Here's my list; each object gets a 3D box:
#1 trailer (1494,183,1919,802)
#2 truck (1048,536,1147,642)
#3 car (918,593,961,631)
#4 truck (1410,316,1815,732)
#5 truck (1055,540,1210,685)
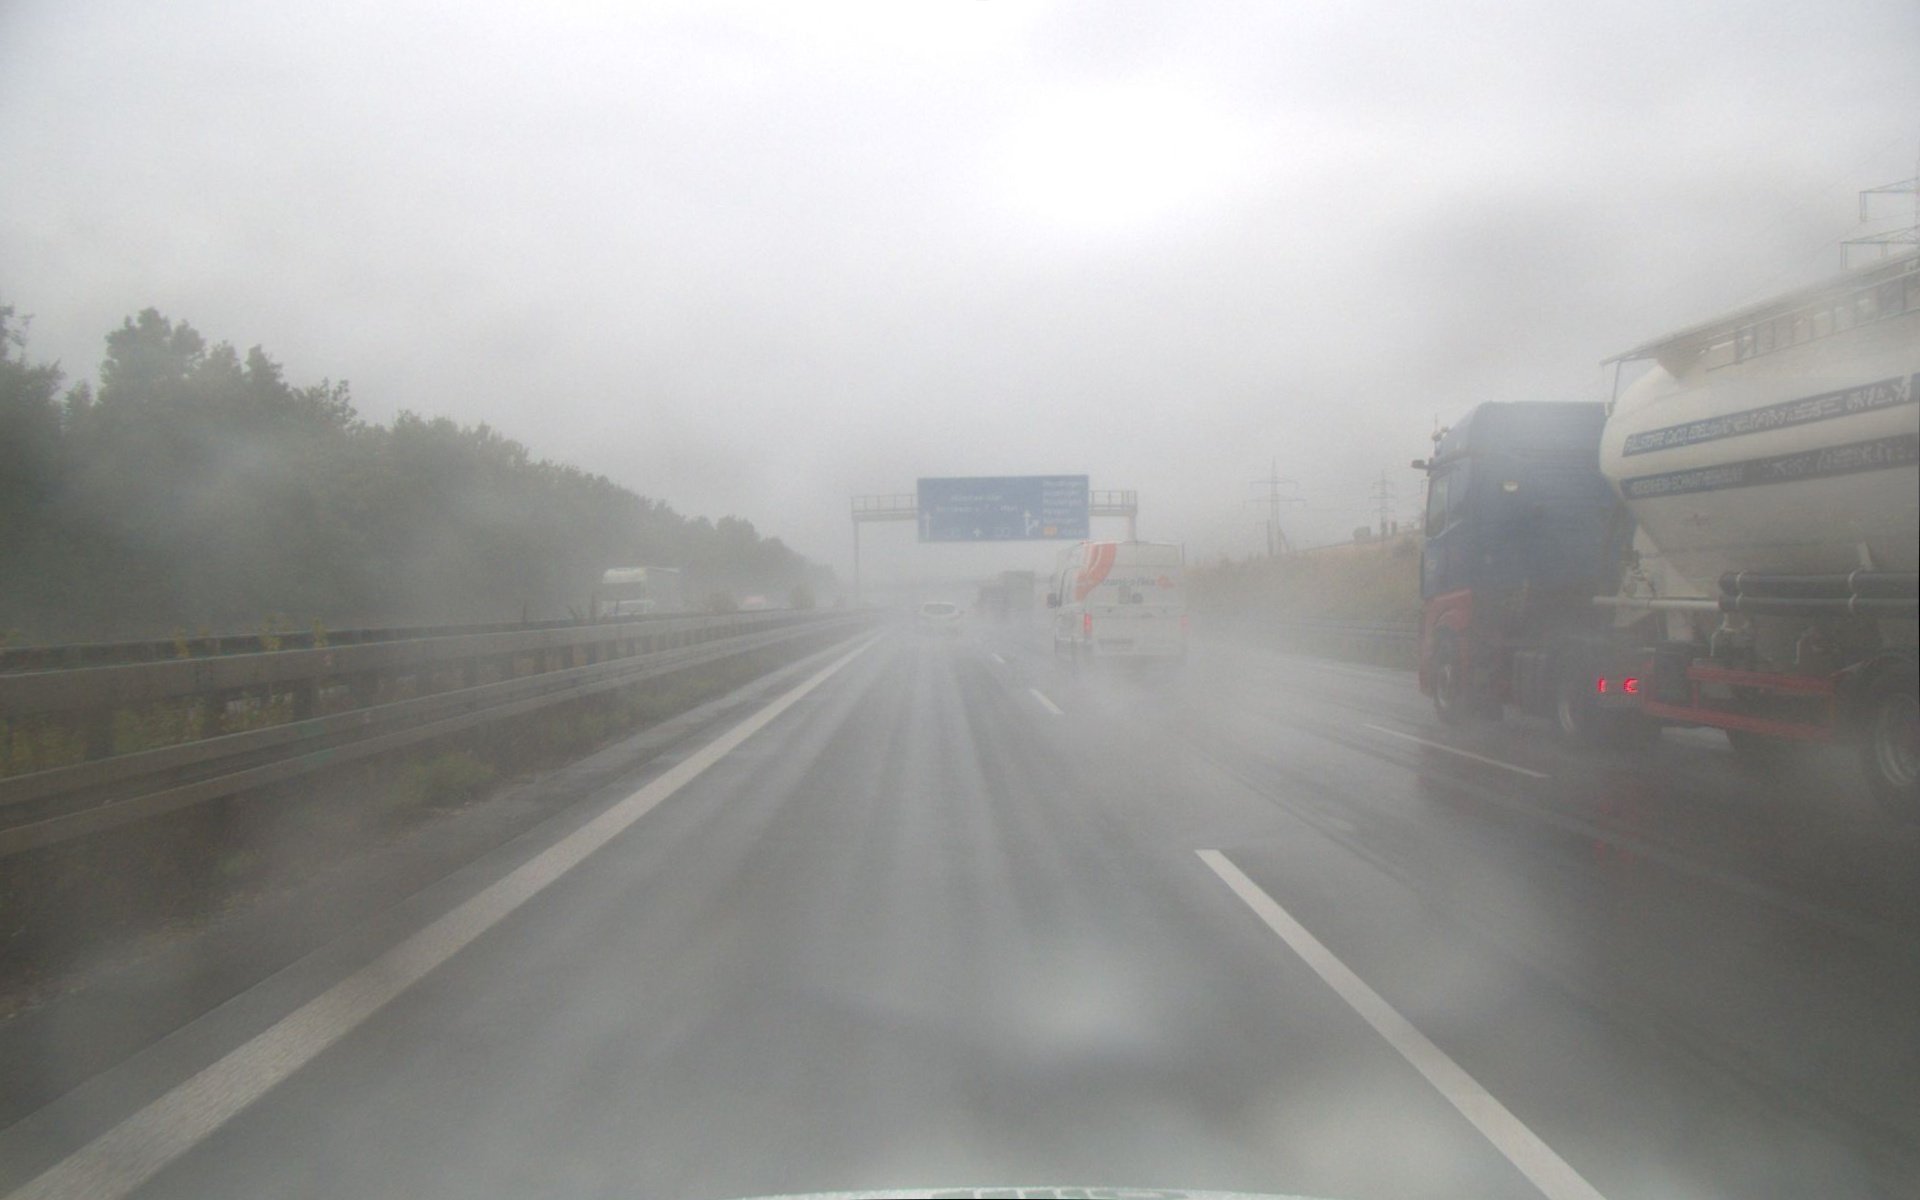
[{"bbox_3d":[7.282,-0.708,12.774,2.447,3.950,11.063,1,1,-2],"label":"trailer"},{"bbox_3d":[6.539,-0.460,81.431,2.978,4.668,16.344,1,0,-2],"label":"truck"},{"bbox_3d":[-0.802,0.435,62.831,1.573,1.361,3.847,1,1,-1],"label":"car"},{"bbox_3d":[7.104,-0.769,18.776,2.446,4.053,5.074,1,1,-2],"label":"truck"},{"bbox_3d":[3.218,0.180,32.039,2.370,2.536,5.559,1,1,0],"label":"truck"}]
